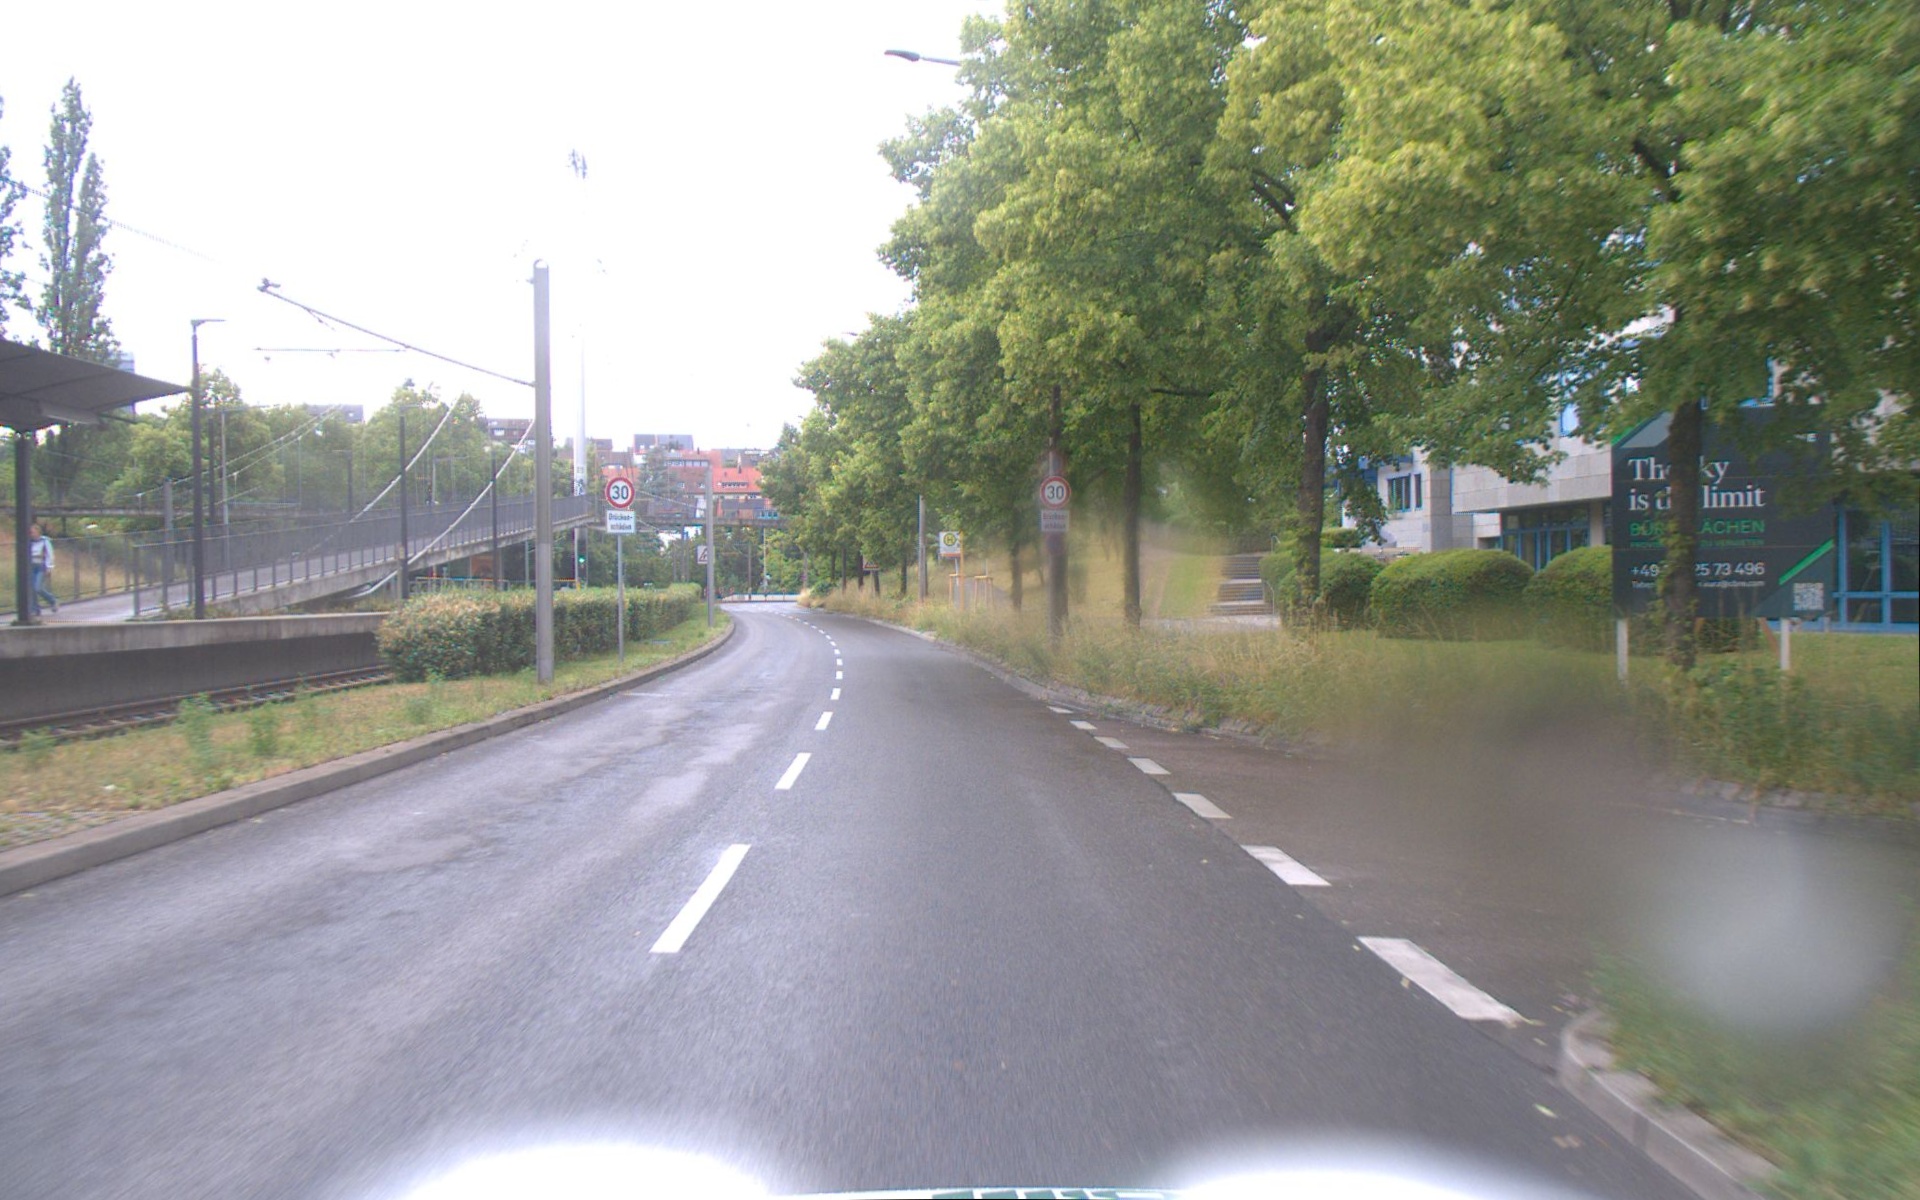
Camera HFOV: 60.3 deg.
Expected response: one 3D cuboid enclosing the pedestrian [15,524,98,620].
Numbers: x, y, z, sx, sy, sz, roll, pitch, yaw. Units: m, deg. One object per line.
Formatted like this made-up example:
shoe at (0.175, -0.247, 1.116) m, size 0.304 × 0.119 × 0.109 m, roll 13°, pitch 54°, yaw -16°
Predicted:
pedestrian at (-15.799, -0.481, 28.939) m, size 0.917 × 1.639 × 1.026 m, roll 0°, pitch 0°, yaw -5°
